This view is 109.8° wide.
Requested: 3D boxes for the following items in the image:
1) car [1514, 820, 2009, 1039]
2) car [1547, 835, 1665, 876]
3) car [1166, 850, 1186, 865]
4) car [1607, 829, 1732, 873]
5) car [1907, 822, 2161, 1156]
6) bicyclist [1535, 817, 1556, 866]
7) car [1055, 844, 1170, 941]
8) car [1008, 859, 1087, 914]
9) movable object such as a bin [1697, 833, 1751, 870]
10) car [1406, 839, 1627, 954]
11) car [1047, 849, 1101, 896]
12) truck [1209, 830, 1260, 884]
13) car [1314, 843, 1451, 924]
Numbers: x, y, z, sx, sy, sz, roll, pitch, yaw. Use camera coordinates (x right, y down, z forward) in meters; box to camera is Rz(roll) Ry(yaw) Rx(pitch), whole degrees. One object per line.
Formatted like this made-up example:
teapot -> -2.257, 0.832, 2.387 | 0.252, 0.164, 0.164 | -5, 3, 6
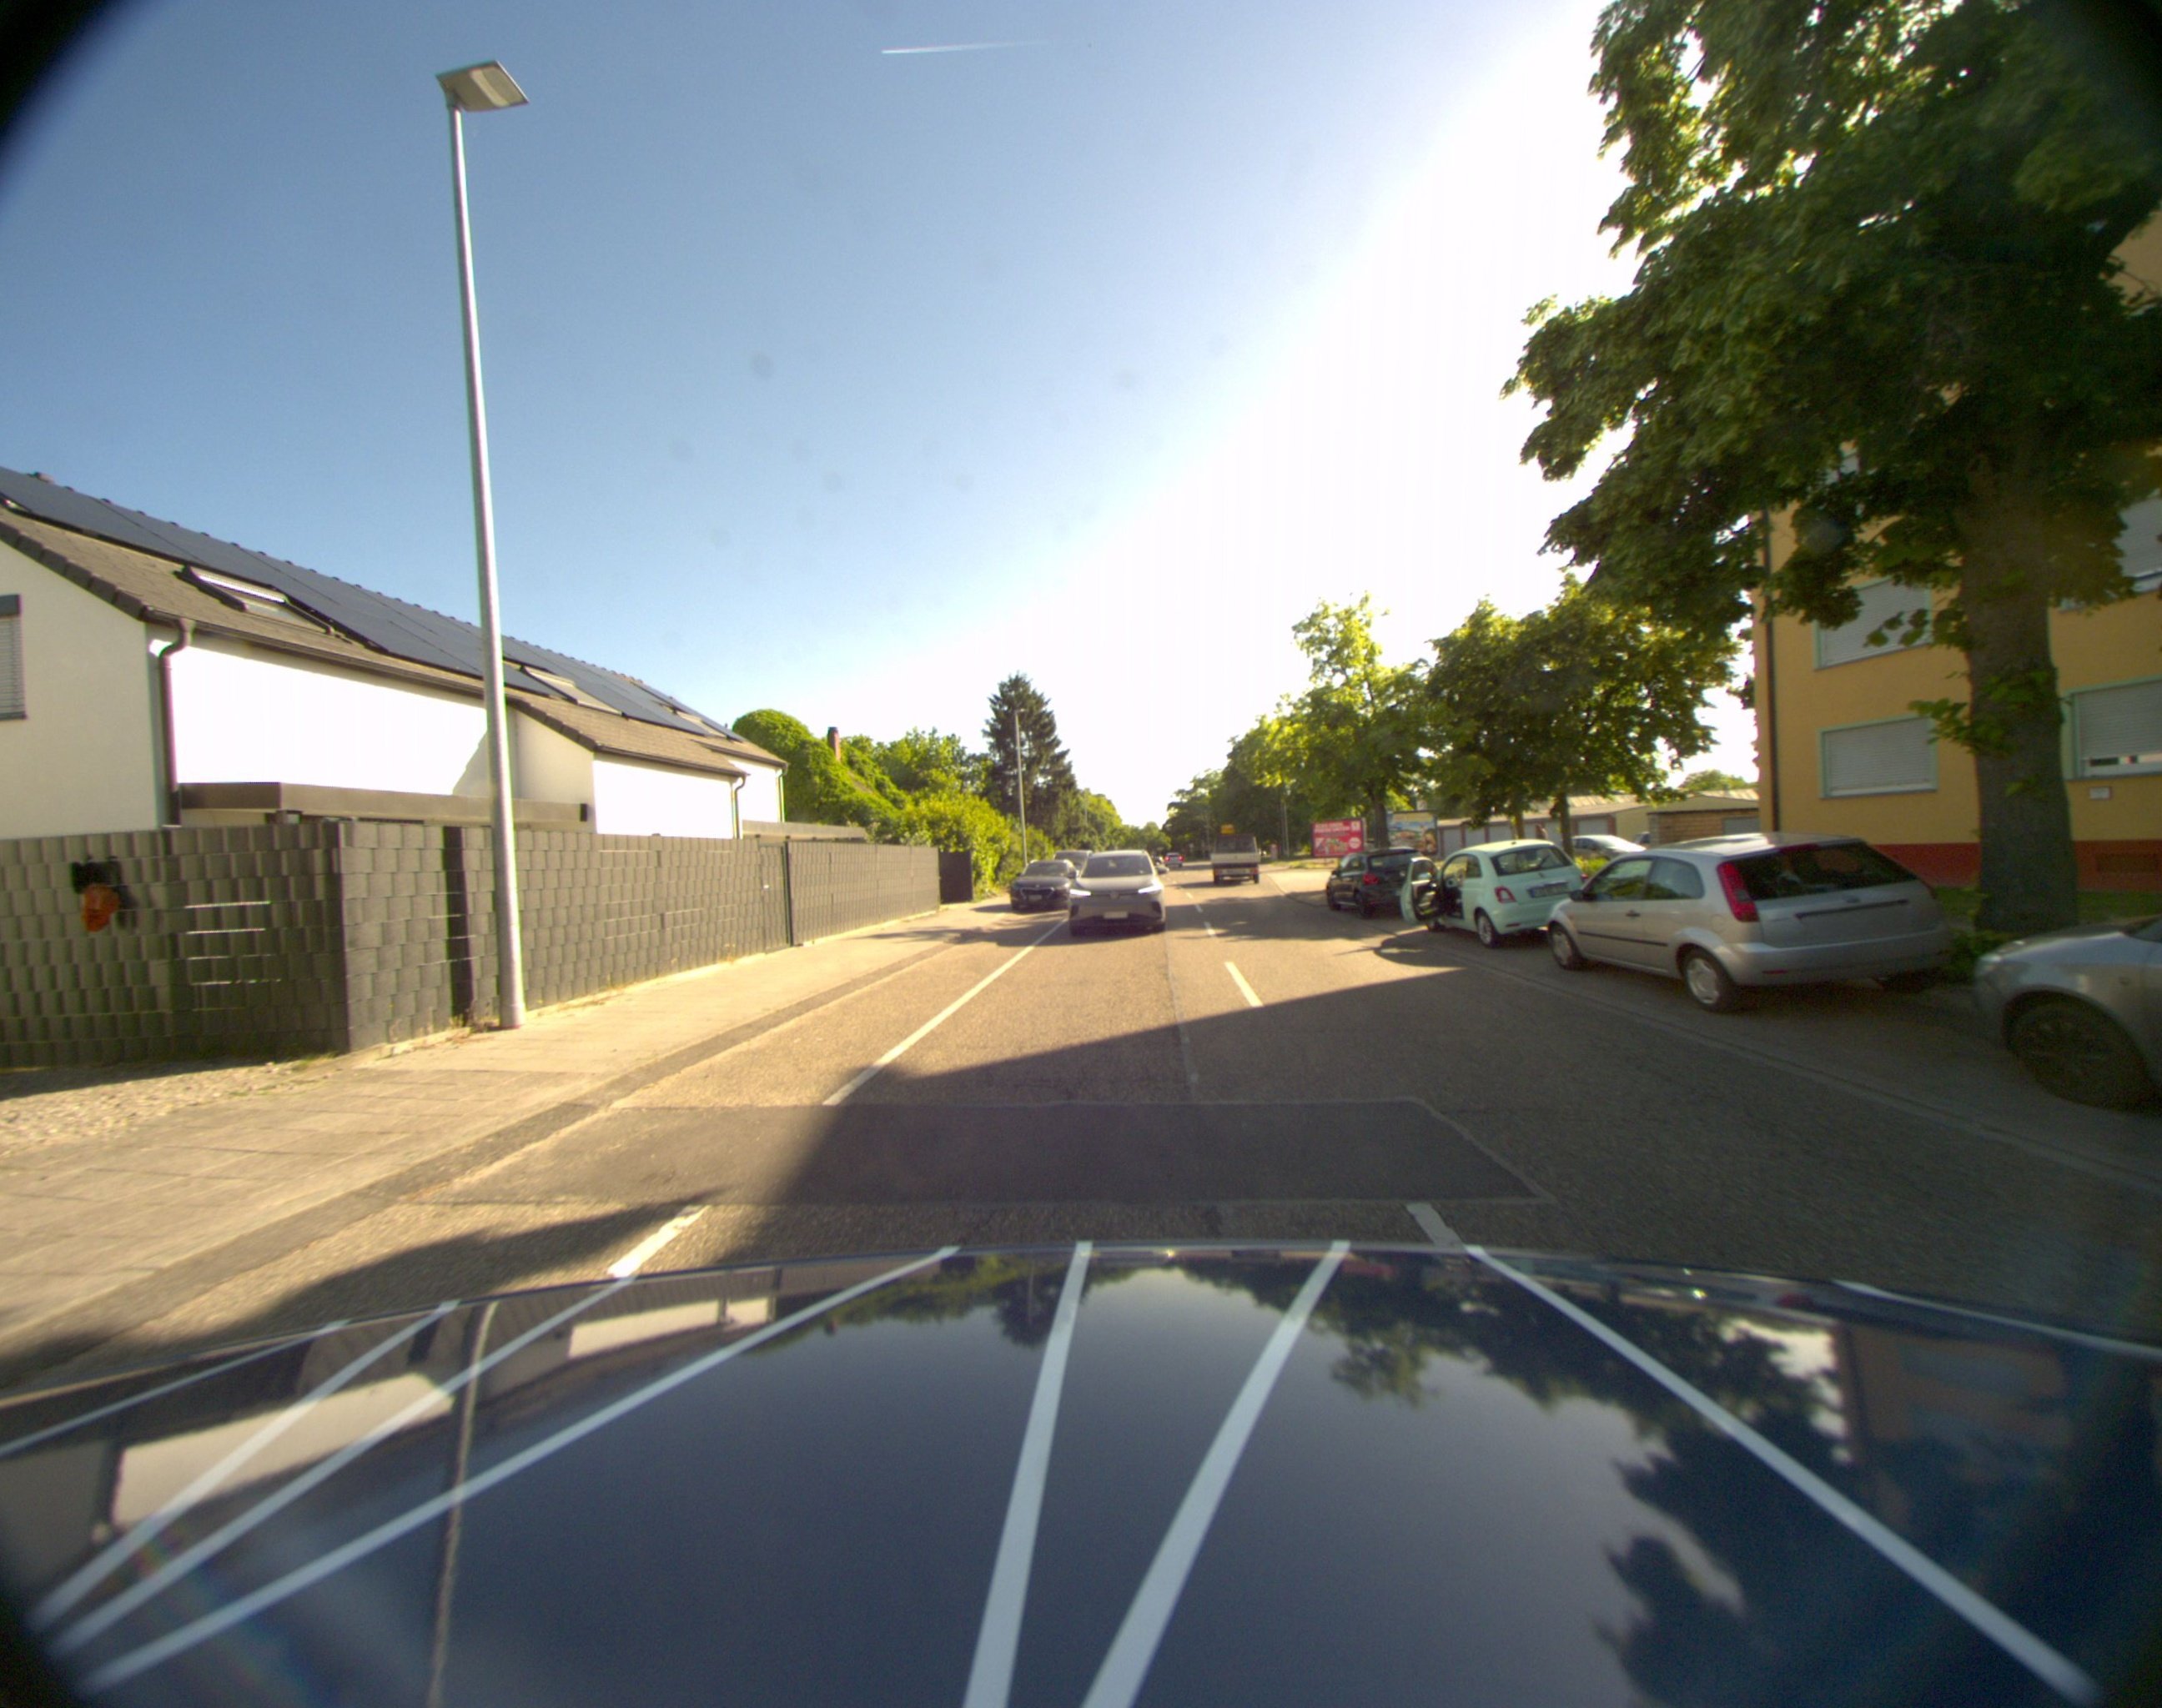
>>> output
car -> 6.293, 0.569, 7.782 | 1.661, 1.501, 4.002 | -7, 0, 7
car -> 21.086, 0.077, 30.719 | 1.734, 1.455, 3.879 | -3, 0, -8
car -> 10.163, 0.384, 81.273 | 1.840, 1.480, 4.891 | -2, 0, 4
car -> 24.003, -0.099, 31.170 | 1.703, 1.612, 3.878 | -3, 0, -10
car -> 5.901, 0.641, 2.806 | 1.571, 1.521, 3.920 | -7, 0, 6
bicyclist -> 16.221, -0.440, 26.520 | 0.390, 1.675, 0.381 | -4, 0, -26
car -> 0.820, 0.679, 16.029 | 1.991, 1.631, 4.366 | -4, 1, 7
car -> -0.931, 0.949, 24.027 | 1.769, 1.471, 4.993 | -2, 0, 6
movable object such as a bin -> 16.256, -0.062, 19.212 | 0.698, 0.905, 0.746 | -2, 0, -3
car -> 6.869, 0.554, 12.517 | 1.704, 1.514, 4.053 | -1, 2, 7
car -> -0.238, 0.759, 34.274 | 1.840, 1.896, 4.699 | -3, 0, 6
truck -> 7.377, 0.082, 36.203 | 2.133, 2.321, 6.448 | -2, 1, 13
car -> 6.833, 0.573, 17.703 | 1.704, 1.472, 4.052 | -5, 2, 4
